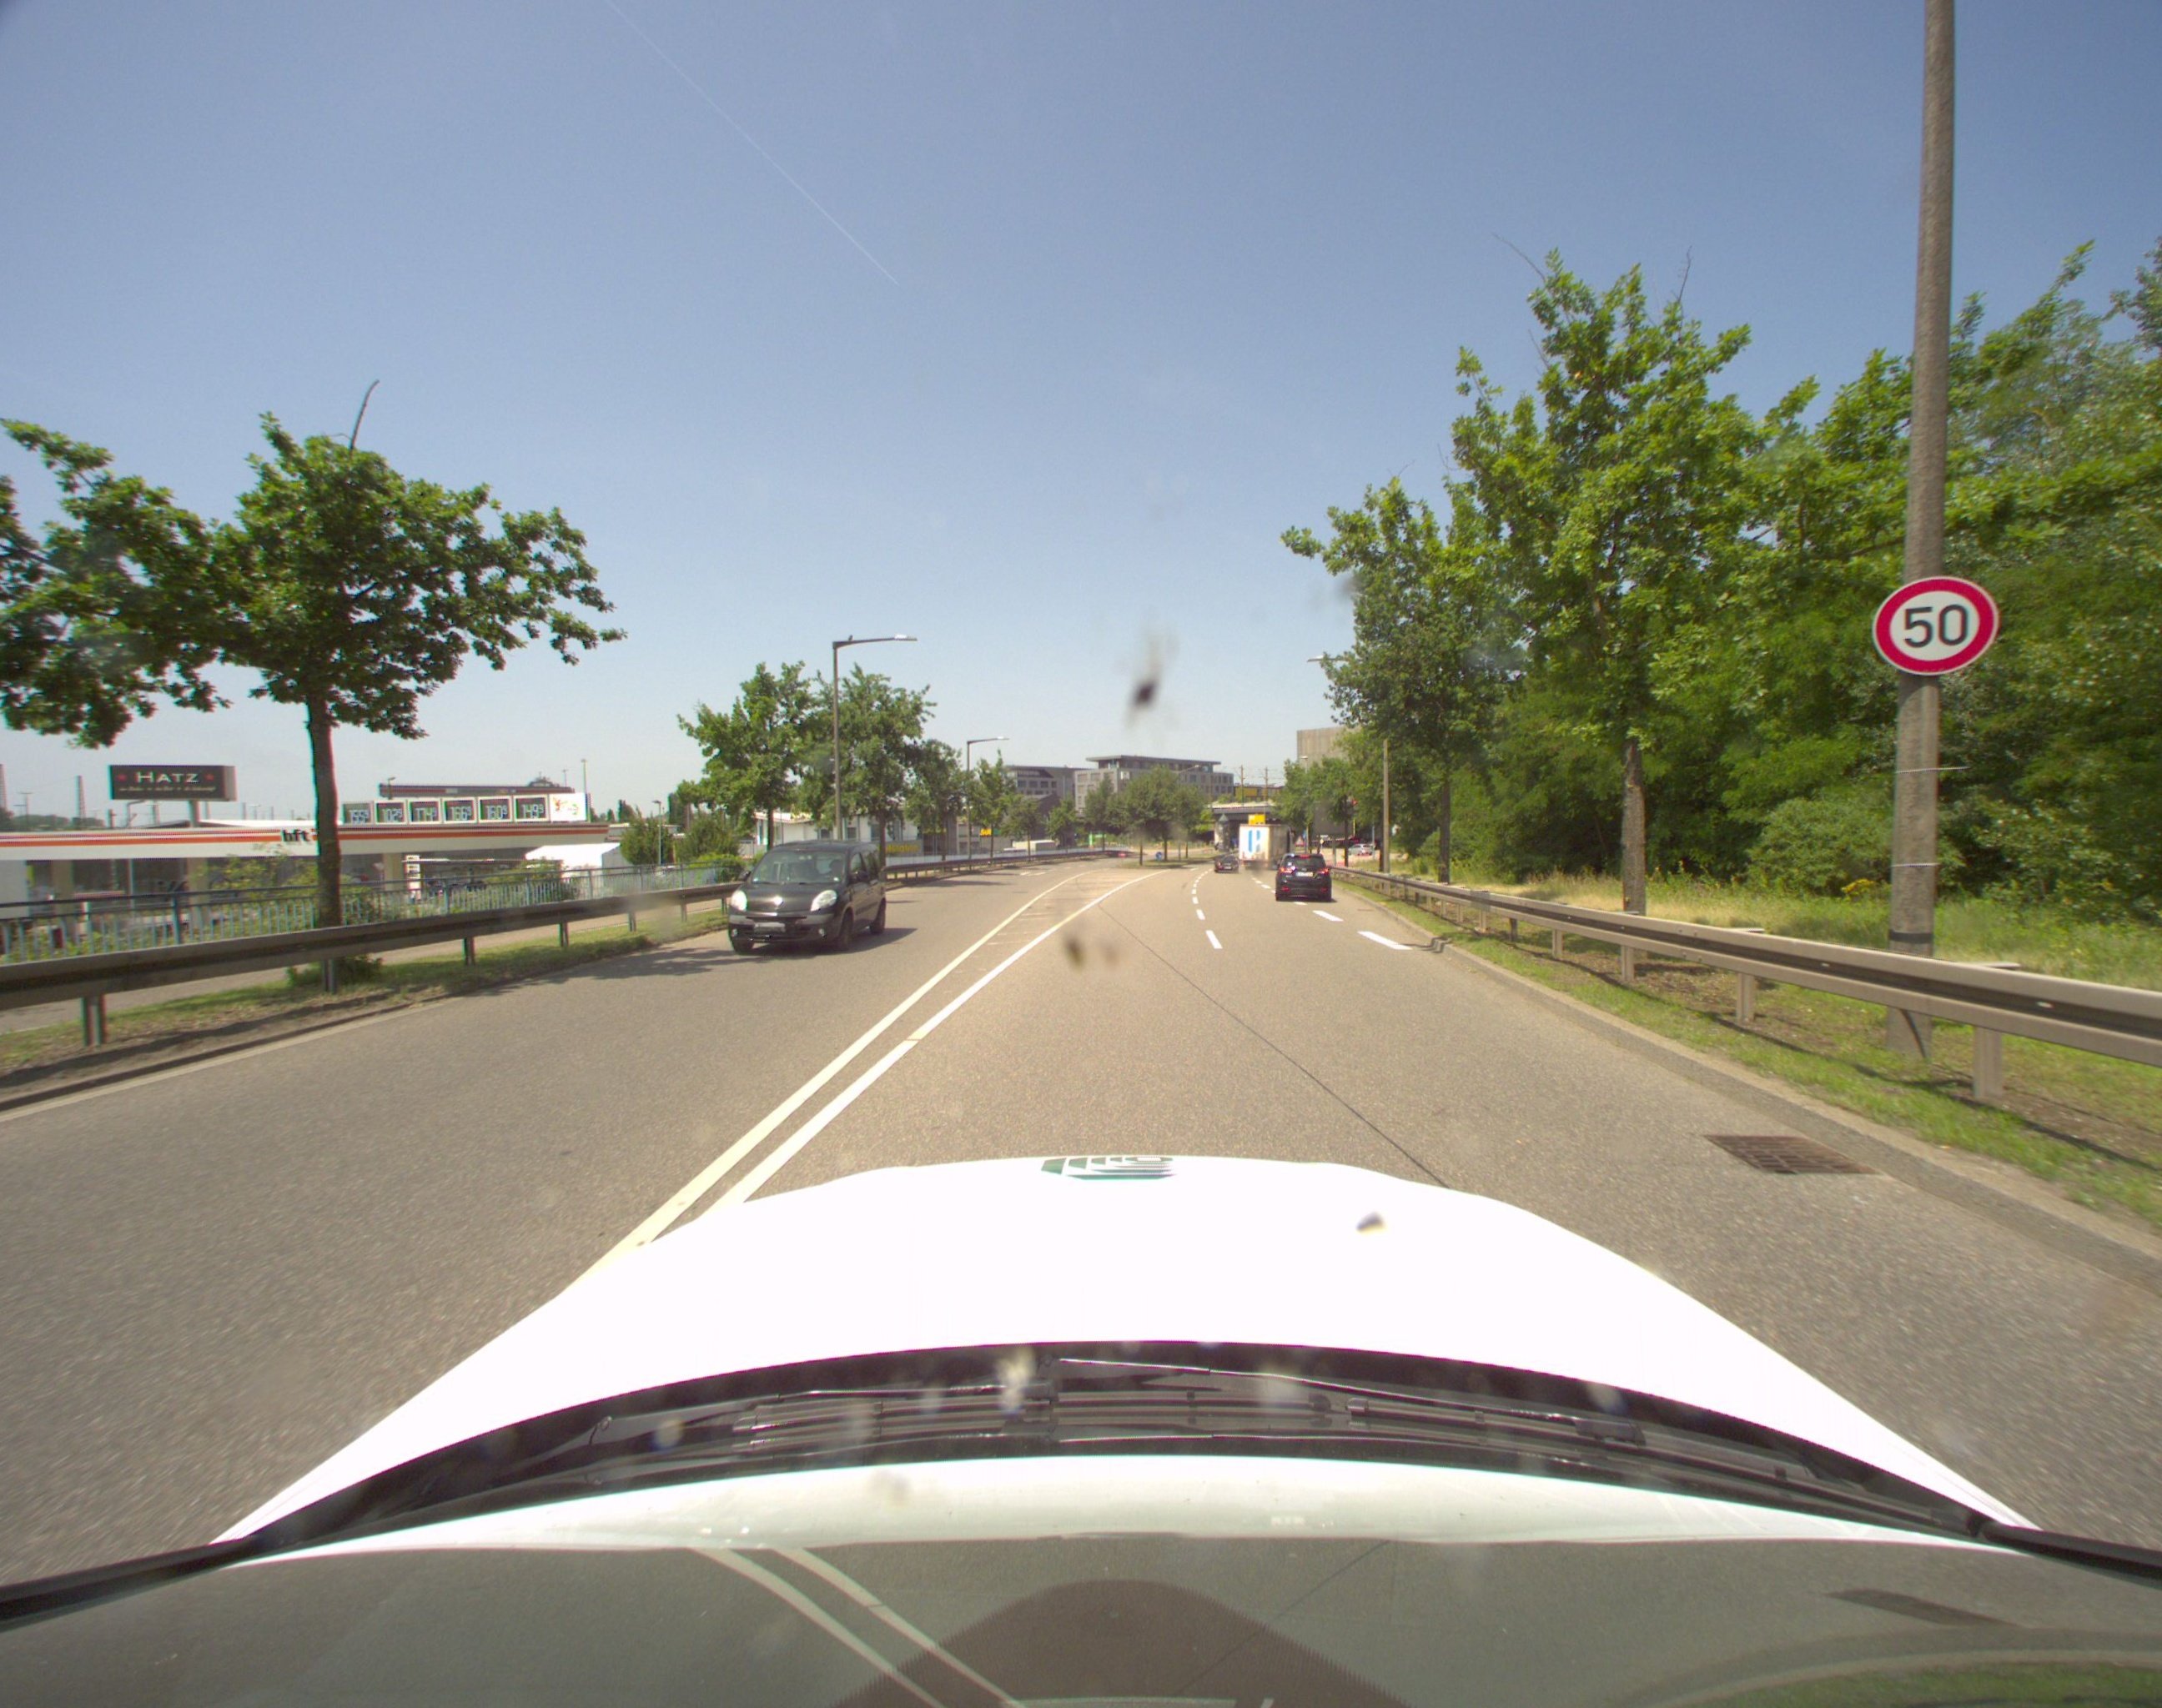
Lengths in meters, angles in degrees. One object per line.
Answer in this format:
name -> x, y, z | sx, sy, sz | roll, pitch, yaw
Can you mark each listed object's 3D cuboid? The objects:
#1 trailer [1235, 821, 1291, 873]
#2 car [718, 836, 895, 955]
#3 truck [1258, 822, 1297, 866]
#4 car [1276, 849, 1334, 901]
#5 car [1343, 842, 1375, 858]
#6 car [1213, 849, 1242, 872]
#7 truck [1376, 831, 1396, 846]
trailer -> 17.290, -0.807, 76.363 | 3.052, 4.367, 14.852 | -1, 2, 21
car -> -4.544, 0.602, 14.192 | 1.803, 1.759, 4.248 | 0, 0, -3
truck -> 20.269, -1.082, 83.839 | 3.049, 4.368, 6.112 | -1, 2, 22
car -> 7.576, 0.639, 27.667 | 1.754, 1.599, 4.094 | 0, 1, 15
car -> 36.906, -0.542, 108.251 | 3.955, 2.013, 2.009 | 0, 0, 18
car -> 11.176, 0.465, 62.093 | 1.943, 1.633, 4.295 | -2, 0, 13
truck -> 55.593, -2.806, 148.339 | 2.048, 2.537, 4.024 | -1, 1, 43
